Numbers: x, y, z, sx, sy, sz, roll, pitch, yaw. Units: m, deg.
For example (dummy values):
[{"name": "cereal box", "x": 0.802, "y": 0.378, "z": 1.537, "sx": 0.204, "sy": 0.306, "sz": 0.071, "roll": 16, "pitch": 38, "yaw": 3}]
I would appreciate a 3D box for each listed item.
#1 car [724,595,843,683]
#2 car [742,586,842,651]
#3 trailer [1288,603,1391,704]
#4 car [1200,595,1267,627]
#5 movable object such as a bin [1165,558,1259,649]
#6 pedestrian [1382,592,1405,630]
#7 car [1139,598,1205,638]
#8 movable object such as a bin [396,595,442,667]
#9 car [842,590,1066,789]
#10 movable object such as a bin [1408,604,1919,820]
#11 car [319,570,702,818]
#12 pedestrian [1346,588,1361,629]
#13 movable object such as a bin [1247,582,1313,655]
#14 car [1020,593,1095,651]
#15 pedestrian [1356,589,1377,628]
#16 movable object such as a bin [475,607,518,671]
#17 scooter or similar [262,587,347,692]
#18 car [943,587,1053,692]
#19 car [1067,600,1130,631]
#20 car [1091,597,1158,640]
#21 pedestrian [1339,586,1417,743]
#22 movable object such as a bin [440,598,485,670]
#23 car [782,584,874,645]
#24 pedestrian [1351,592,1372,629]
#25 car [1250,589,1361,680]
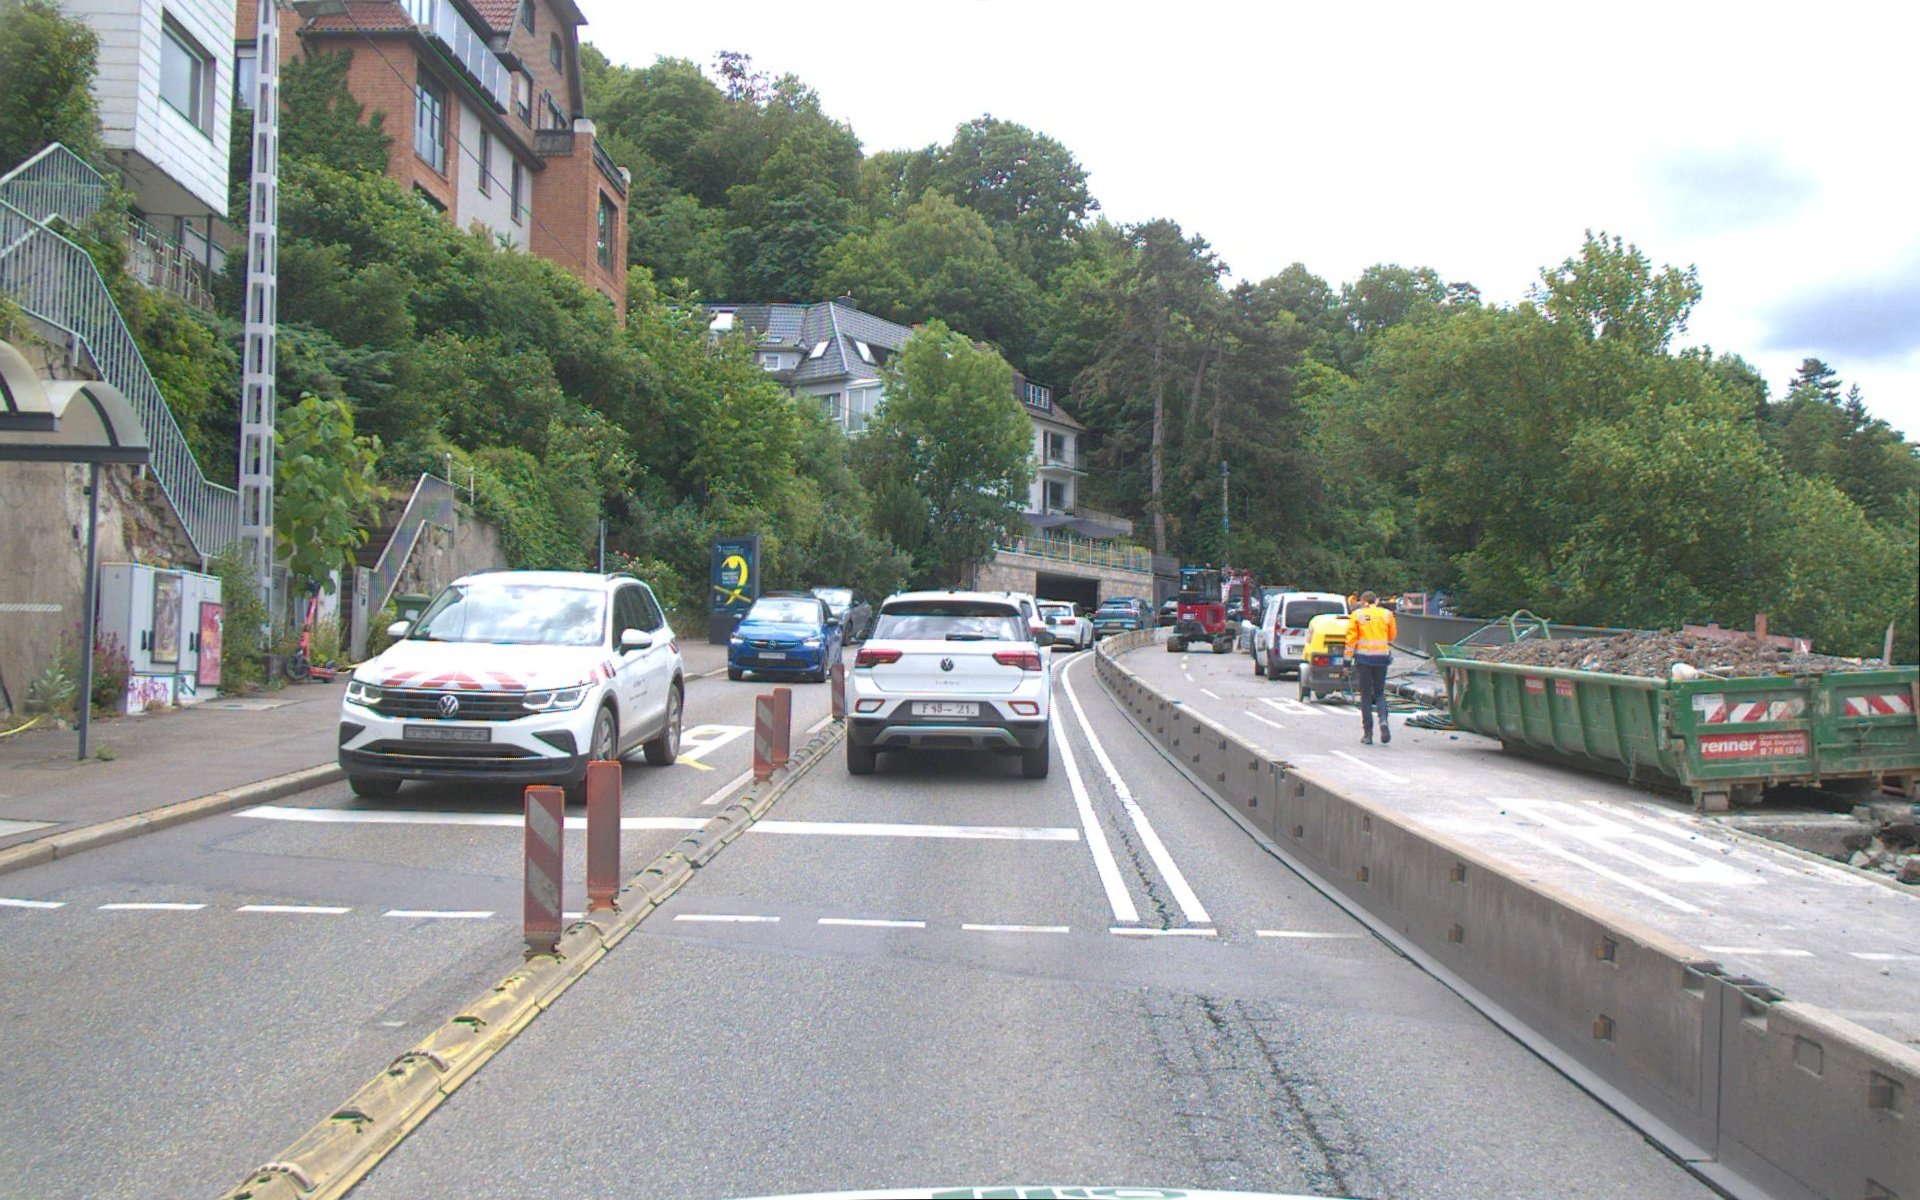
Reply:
[{"name": "car", "x": -3.079, "y": 0.637, "z": 29.491, "sx": 1.691, "sy": 1.445, "sz": 3.820, "roll": 1, "pitch": 0, "yaw": 0}, {"name": "car", "x": -4.353, "y": 0.456, "z": 43.361, "sx": 1.756, "sy": 1.536, "sz": 4.003, "roll": 3, "pitch": 0, "yaw": 6}, {"name": "trailer", "x": 6.228, "y": 0.833, "z": 27.387, "sx": 1.261, "sy": 1.501, "sz": 3.636, "roll": 1, "pitch": 0, "yaw": 7}, {"name": "car", "x": 14.453, "y": 0.566, "z": 87.264, "sx": 1.738, "sy": 1.595, "sz": 4.213, "roll": 2, "pitch": 1, "yaw": 36}, {"name": "movable object such as a bin", "x": 8.016, "y": 0.085, "z": 52.188, "sx": 2.165, "sy": 2.709, "sz": 4.947, "roll": 1, "pitch": 0, "yaw": 17}, {"name": "pedestrian", "x": 20.071, "y": 0.501, "z": 76.620, "sx": 0.770, "sy": 1.717, "sz": 0.781, "roll": 0, "pitch": 0, "yaw": 39}, {"name": "car", "x": 9.273, "y": 0.756, "z": 72.168, "sx": 1.773, "sy": 1.692, "sz": 3.998, "roll": -1, "pitch": 0, "yaw": 24}, {"name": "movable object such as a bin", "x": -8.338, "y": 0.473, "z": 25.491, "sx": 0.458, "sy": 1.072, "sz": 0.624, "roll": 2, "pitch": 0, "yaw": 0}, {"name": "car", "x": -0.001, "y": 0.709, "z": 15.340, "sx": 1.772, "sy": 1.558, "sz": 4.001, "roll": 1, "pitch": 0, "yaw": 1}, {"name": "movable object such as a bin", "x": 6.605, "y": 0.879, "z": 16.268, "sx": 2.326, "sy": 1.589, "sz": 7.097, "roll": 1, "pitch": 0, "yaw": -1}, {"name": "car", "x": -3.324, "y": 0.613, "z": 13.136, "sx": 1.804, "sy": 1.627, "sz": 4.264, "roll": 1, "pitch": 0, "yaw": 1}, {"name": "pedestrian", "x": 18.526, "y": 0.392, "z": 77.898, "sx": 0.675, "sy": 1.940, "sz": 0.826, "roll": 0, "pitch": 0, "yaw": 11}, {"name": "movable object such as a bin", "x": 9.166, "y": 0.497, "z": 47.627, "sx": 1.665, "sy": 1.977, "sz": 4.168, "roll": 1, "pitch": 0, "yaw": 8}, {"name": "car", "x": 3.016, "y": 0.636, "z": 50.378, "sx": 1.771, "sy": 1.692, "sz": 4.004, "roll": -1, "pitch": 0, "yaw": 11}, {"name": "pedestrian", "x": 19.602, "y": 0.419, "z": 79.659, "sx": 0.858, "sy": 1.854, "sz": 0.878, "roll": 0, "pitch": 0, "yaw": 23}, {"name": "movable object such as a bin", "x": -7.141, "y": 0.592, "z": 25.501, "sx": 0.458, "sy": 0.950, "sz": 0.624, "roll": 2, "pitch": 0, "yaw": 0}, {"name": "scooter or similar", "x": -8.001, "y": 0.464, "z": 20.238, "sx": 0.450, "sy": 1.226, "sz": 1.435, "roll": 3, "pitch": 0, "yaw": -2}, {"name": "car", "x": 0.716, "y": 0.636, "z": 28.878, "sx": 1.772, "sy": 1.692, "sz": 4.002, "roll": -1, "pitch": 0, "yaw": 3}, {"name": "car", "x": 7.350, "y": 0.847, "z": 87.620, "sx": 1.750, "sy": 1.478, "sz": 3.691, "roll": 1, "pitch": -1, "yaw": 33}, {"name": "car", "x": 6.202, "y": 0.661, "z": 62.159, "sx": 1.756, "sy": 1.537, "sz": 4.002, "roll": -1, "pitch": 0, "yaw": 17}, {"name": "pedestrian", "x": 4.759, "y": 0.717, "z": 18.883, "sx": 0.632, "sy": 1.731, "sz": 0.850, "roll": 2, "pitch": 0, "yaw": 0}, {"name": "movable object such as a bin", "x": -7.658, "y": 0.514, "z": 25.482, "sx": 0.458, "sy": 1.072, "sz": 0.624, "roll": 2, "pitch": 0, "yaw": 0}, {"name": "car", "x": -3.825, "y": 0.406, "z": 48.625, "sx": 1.651, "sy": 1.634, "sz": 4.190, "roll": 3, "pitch": 0, "yaw": 10}, {"name": "pedestrian", "x": 19.141, "y": 0.485, "z": 78.856, "sx": 0.858, "sy": 1.761, "sz": 0.878, "roll": 0, "pitch": 0, "yaw": 23}, {"name": "car", "x": 7.314, "y": 0.676, "z": 35.340, "sx": 1.794, "sy": 1.811, "sz": 4.271, "roll": 1, "pitch": 0, "yaw": 5}]
